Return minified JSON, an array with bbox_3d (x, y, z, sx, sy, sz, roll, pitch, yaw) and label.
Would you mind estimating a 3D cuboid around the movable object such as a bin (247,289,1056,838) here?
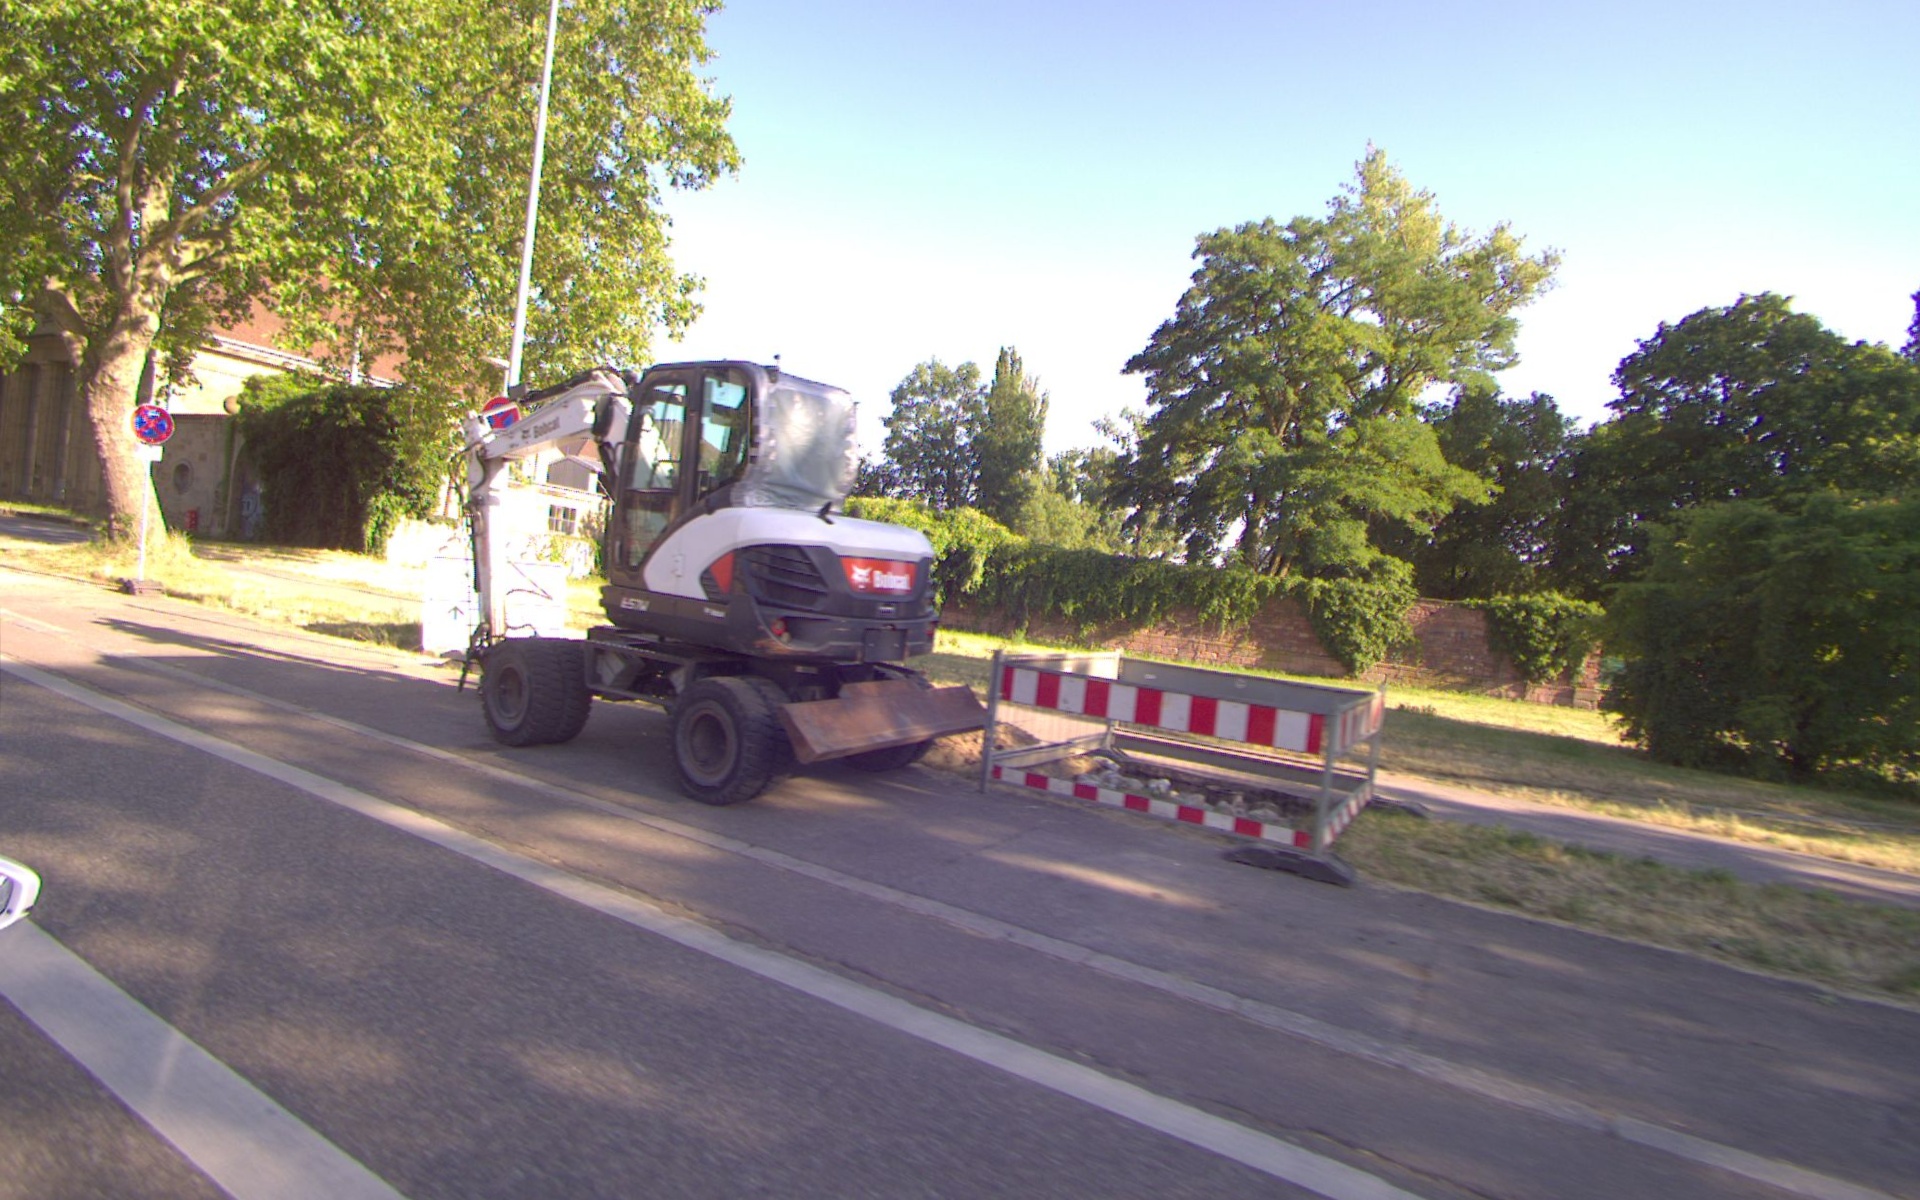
[{"bbox_3d":[-3.068,-0.540,8.890,7.100,3.189,2.743,7,4,32],"label":"movable object such as a bin"}]
